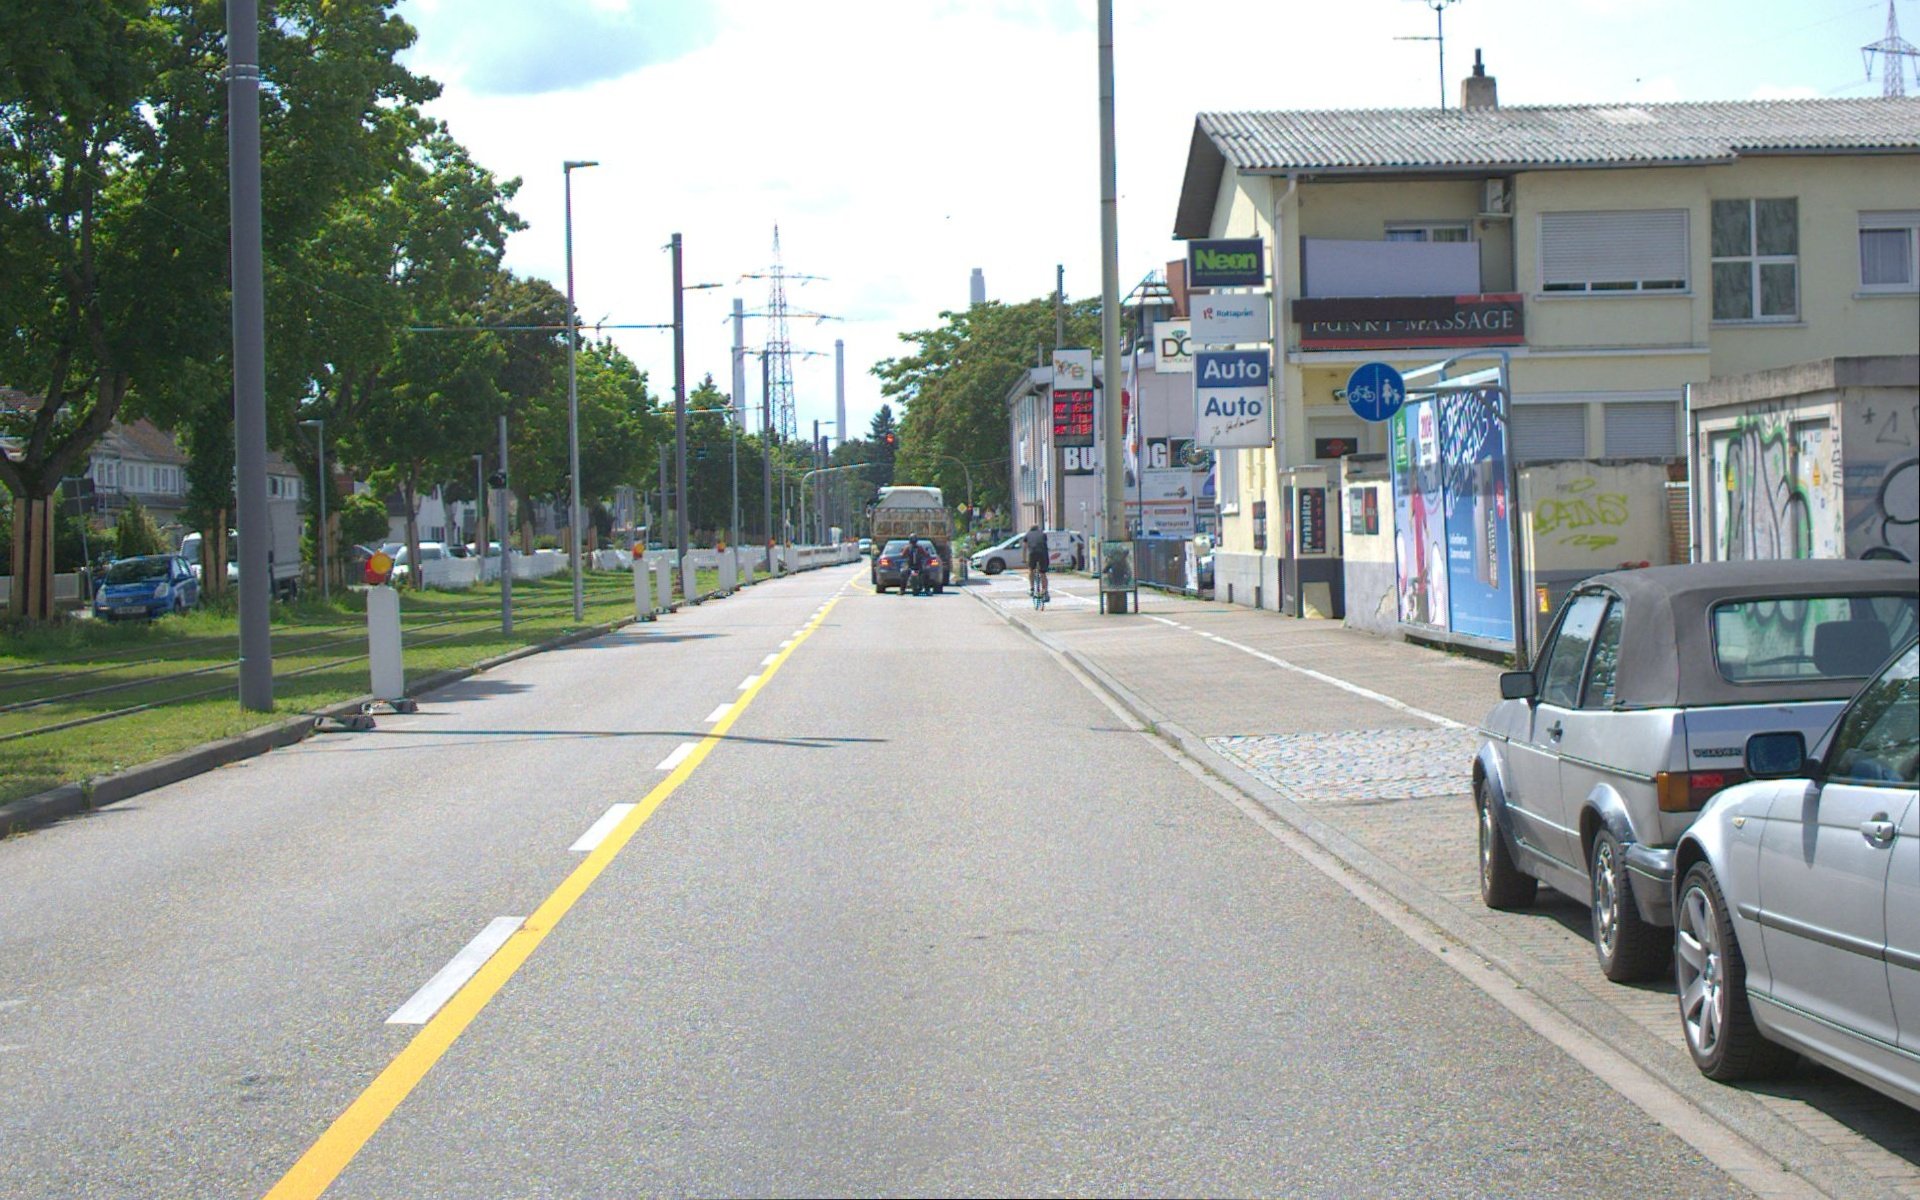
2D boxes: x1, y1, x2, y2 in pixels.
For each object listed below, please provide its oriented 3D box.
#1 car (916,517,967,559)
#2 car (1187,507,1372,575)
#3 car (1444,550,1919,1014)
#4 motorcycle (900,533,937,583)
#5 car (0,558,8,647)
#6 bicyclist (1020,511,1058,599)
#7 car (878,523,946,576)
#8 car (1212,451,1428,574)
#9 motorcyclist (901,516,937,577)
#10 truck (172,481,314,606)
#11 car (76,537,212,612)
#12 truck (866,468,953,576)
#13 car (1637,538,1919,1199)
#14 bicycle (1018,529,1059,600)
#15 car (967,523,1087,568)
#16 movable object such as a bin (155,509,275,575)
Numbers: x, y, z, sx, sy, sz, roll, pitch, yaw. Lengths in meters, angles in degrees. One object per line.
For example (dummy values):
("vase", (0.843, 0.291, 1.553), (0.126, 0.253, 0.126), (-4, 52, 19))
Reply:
("car", (-0.670, -2.275, 125.110), (1.821, 1.459, 4.000), (-1, 1, 0))
("car", (7.400, -1.375, 79.581), (4.184, 1.426, 1.820), (-2, 1, 6))
("car", (2.983, 0.555, 13.084), (1.651, 1.426, 4.097), (-2, 1, 0))
("motorcycle", (-1.108, -1.121, 91.449), (0.939, 1.316, 2.645), (0, 1, -1))
("car", (-16.737, 0.111, 54.666), (1.805, 1.477, 4.940), (-2, 1, 0))
("bicyclist", (1.586, -0.909, 69.224), (0.671, 1.738, 0.814), (-2, 1, -1))
("car", (-1.344, -1.416, 95.918), (1.821, 1.419, 4.000), (-1, 1, -1))
("car", (8.006, -1.933, 76.768), (4.537, 2.564, 2.151), (-2, 1, 1))
("motorcyclist", (-1.101, -1.414, 91.263), (0.939, 1.609, 1.205), (0, 1, -1))
("truck", (-17.273, -1.396, 83.151), (1.993, 2.758, 6.277), (-5, 2, -1))
("car", (-17.062, -0.535, 72.043), (1.993, 1.448, 4.000), (-2, 1, -3))
("truck", (-1.593, -2.625, 112.113), (2.610, 3.244, 9.183), (-2, 2, 0))
("car", (2.985, 0.597, 7.970), (1.691, 1.511, 4.357), (-2, 1, -3))
("bicycle", (1.570, -0.725, 69.177), (0.693, 1.357, 2.419), (-2, 1, -1))
("car", (2.602, -2.125, 133.398), (4.329, 1.546, 1.950), (-3, 1, -8))
("movable object such as a bin", (-29.574, -2.306, 136.441), (4.335, 2.441, 1.789), (-2, 1, -22))
